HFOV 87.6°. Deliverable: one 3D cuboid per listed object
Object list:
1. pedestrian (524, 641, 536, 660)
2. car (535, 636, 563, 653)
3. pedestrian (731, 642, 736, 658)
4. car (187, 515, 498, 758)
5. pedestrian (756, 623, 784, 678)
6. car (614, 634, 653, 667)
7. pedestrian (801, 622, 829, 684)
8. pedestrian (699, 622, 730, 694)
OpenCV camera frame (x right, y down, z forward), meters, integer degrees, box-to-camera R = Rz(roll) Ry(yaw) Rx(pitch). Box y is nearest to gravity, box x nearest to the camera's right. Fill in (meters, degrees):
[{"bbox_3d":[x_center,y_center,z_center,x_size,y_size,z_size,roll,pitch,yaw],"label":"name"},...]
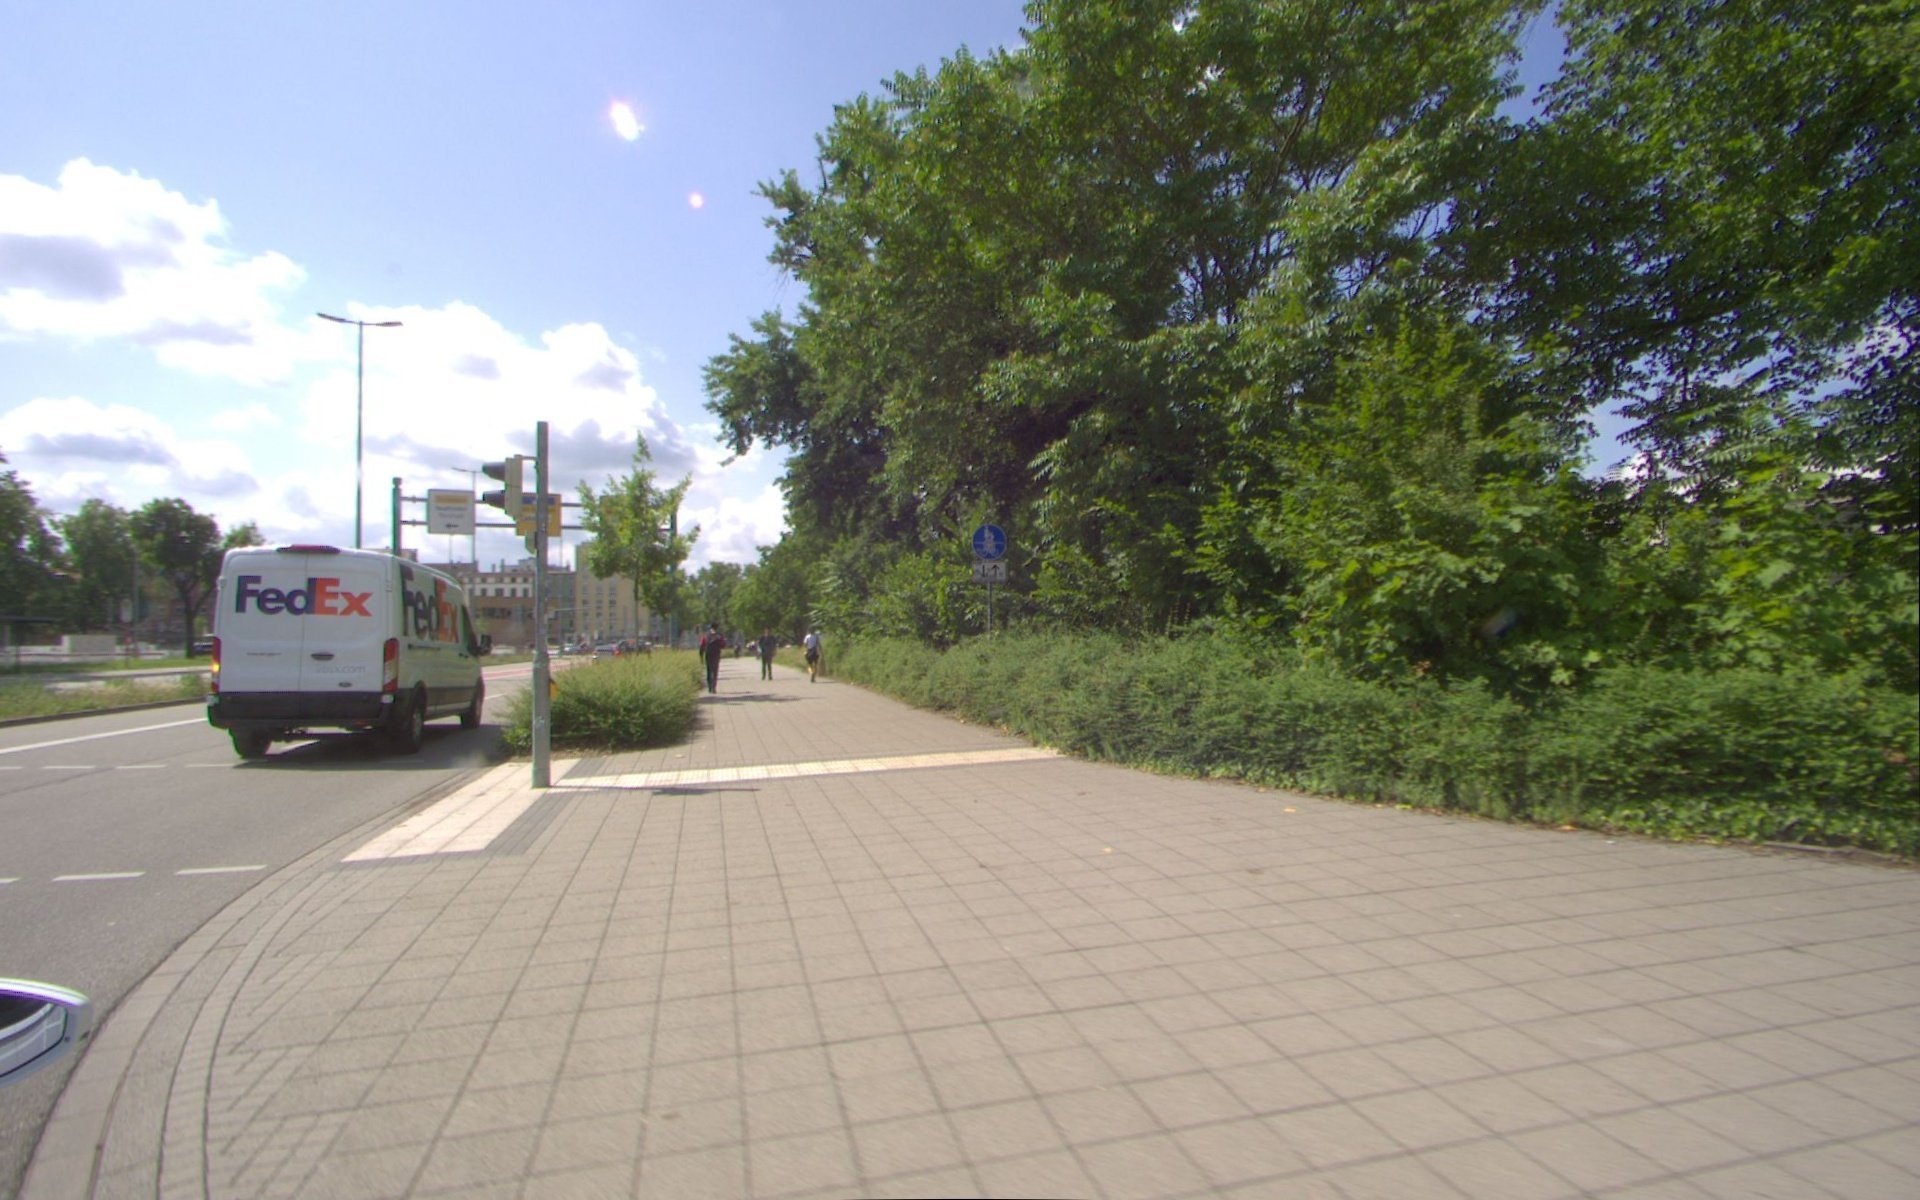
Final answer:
[{"bbox_3d":[-36.180,4.249,84.265,0.861,1.580,0.554,1,-1,-23],"label":"pedestrian"},{"bbox_3d":[-52.194,5.677,127.162,1.961,2.038,4.003,0,-3,-1],"label":"car"},{"bbox_3d":[-18.815,4.152,83.208,0.353,1.275,0.391,1,-2,-22],"label":"pedestrian"},{"bbox_3d":[-8.236,0.521,14.124,2.109,2.686,5.699,0,-2,-15],"label":"car"},{"bbox_3d":[-6.095,1.623,32.111,0.801,1.743,0.929,1,-2,-14],"label":"pedestrian"},{"bbox_3d":[-18.139,2.809,55.740,1.786,1.756,4.384,1,-2,-15],"label":"car"},{"bbox_3d":[-4.152,1.518,28.565,0.711,1.743,0.746,1,-2,-14],"label":"pedestrian"},{"bbox_3d":[-5.999,1.413,24.483,0.705,1.743,0.836,1,-2,-14],"label":"pedestrian"}]
